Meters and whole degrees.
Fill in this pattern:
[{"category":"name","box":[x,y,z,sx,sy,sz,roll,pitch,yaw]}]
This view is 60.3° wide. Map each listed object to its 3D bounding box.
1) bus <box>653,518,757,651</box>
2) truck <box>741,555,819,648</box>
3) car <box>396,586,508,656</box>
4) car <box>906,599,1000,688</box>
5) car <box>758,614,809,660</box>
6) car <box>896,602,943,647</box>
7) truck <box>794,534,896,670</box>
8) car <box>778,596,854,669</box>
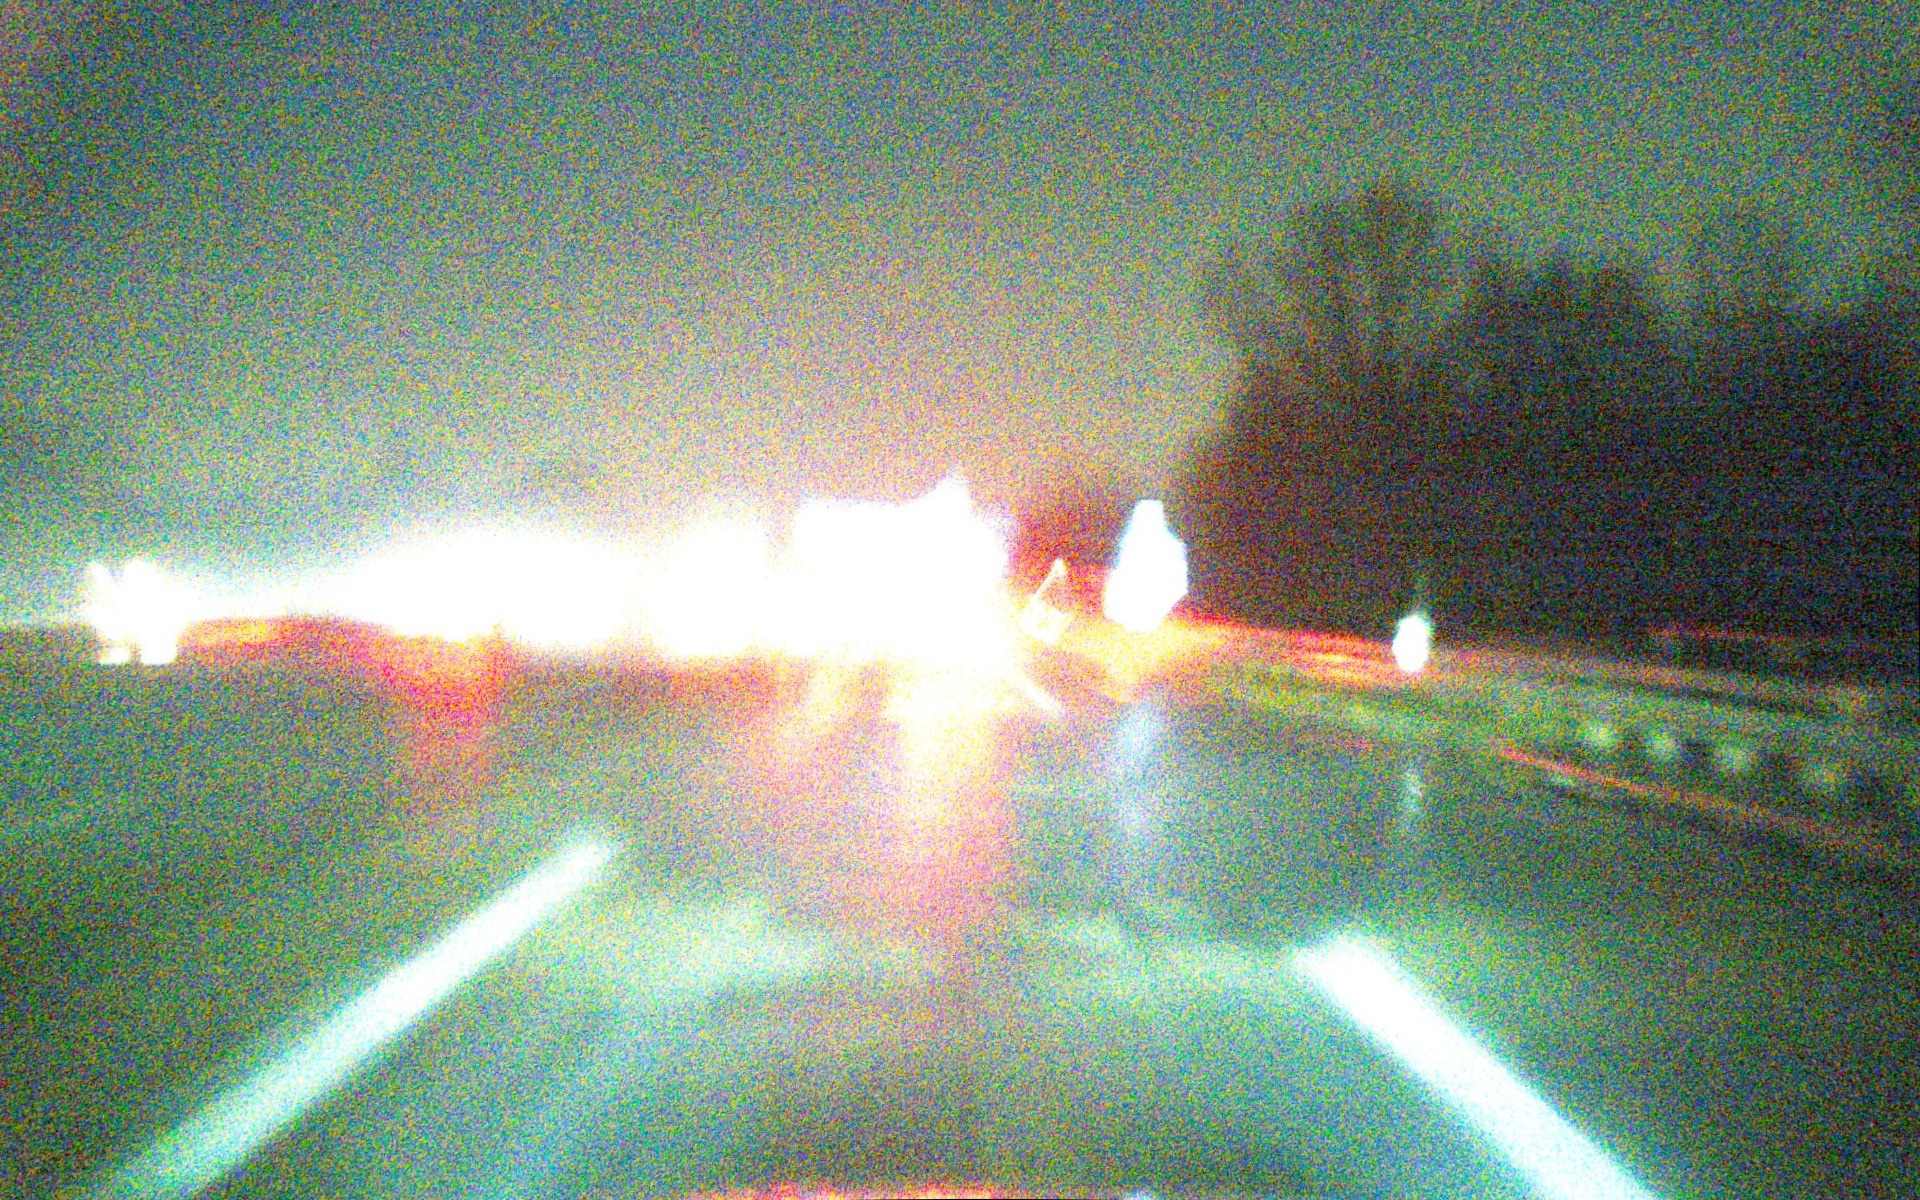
[{"category":"bus","box":[-9.647,-0.480,63.693,3.036,4.587,10.902,1,-1,-4]},{"category":"truck","box":[-11.786,0.140,109.667,4.125,5.747,11.462,1,-1,-2]},{"category":"car","box":[-12.565,0.524,41.140,1.956,1.624,3.993,1,-1,-8]},{"category":"car","box":[-0.181,0.936,36.879,1.953,1.839,3.999,1,-1,-1]},{"category":"car","box":[-7.292,1.508,68.626,1.954,1.839,3.996,1,-1,-4]},{"category":"car","box":[-1.992,1.166,79.868,2.084,2.049,4.642,1,-1,-3]},{"category":"truck","box":[-5.151,0.147,76.644,4.125,5.747,11.462,1,-1,-2]},{"category":"car","box":[-4.278,0.954,49.650,2.084,2.049,4.642,1,-1,-3]}]
